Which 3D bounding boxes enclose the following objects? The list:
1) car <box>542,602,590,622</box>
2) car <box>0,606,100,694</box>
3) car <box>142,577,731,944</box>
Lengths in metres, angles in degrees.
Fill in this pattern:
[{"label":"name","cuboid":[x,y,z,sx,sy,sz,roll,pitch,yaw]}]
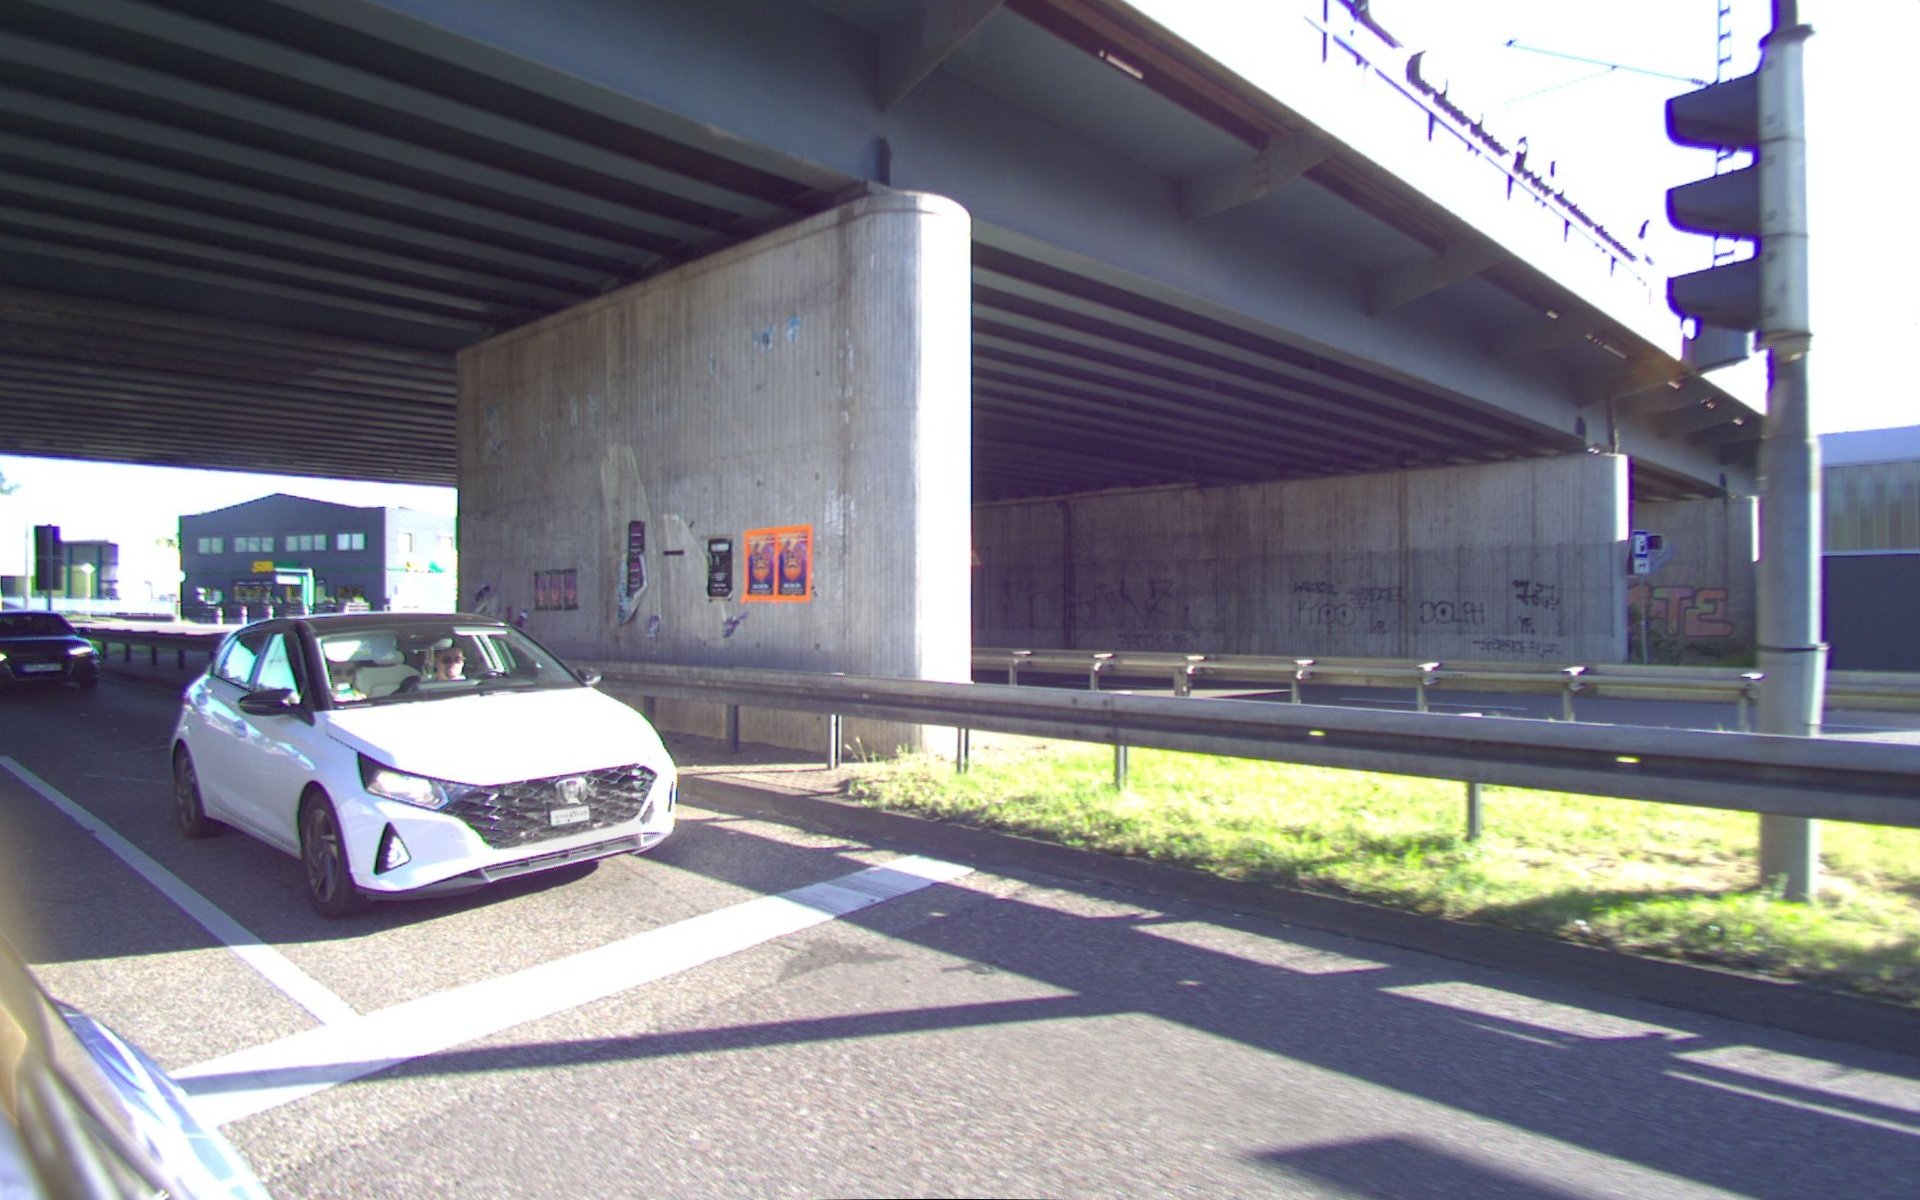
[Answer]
[{"label":"car","cuboid":[-28.179,0.882,72.476,1.805,1.291,4.182,1,-2,0]},{"label":"car","cuboid":[-16.935,0.871,18.058,3.979,1.431,1.825,-2,-1,40]},{"label":"car","cuboid":[-3.321,0.694,6.066,3.987,1.491,1.716,-2,0,40]}]
